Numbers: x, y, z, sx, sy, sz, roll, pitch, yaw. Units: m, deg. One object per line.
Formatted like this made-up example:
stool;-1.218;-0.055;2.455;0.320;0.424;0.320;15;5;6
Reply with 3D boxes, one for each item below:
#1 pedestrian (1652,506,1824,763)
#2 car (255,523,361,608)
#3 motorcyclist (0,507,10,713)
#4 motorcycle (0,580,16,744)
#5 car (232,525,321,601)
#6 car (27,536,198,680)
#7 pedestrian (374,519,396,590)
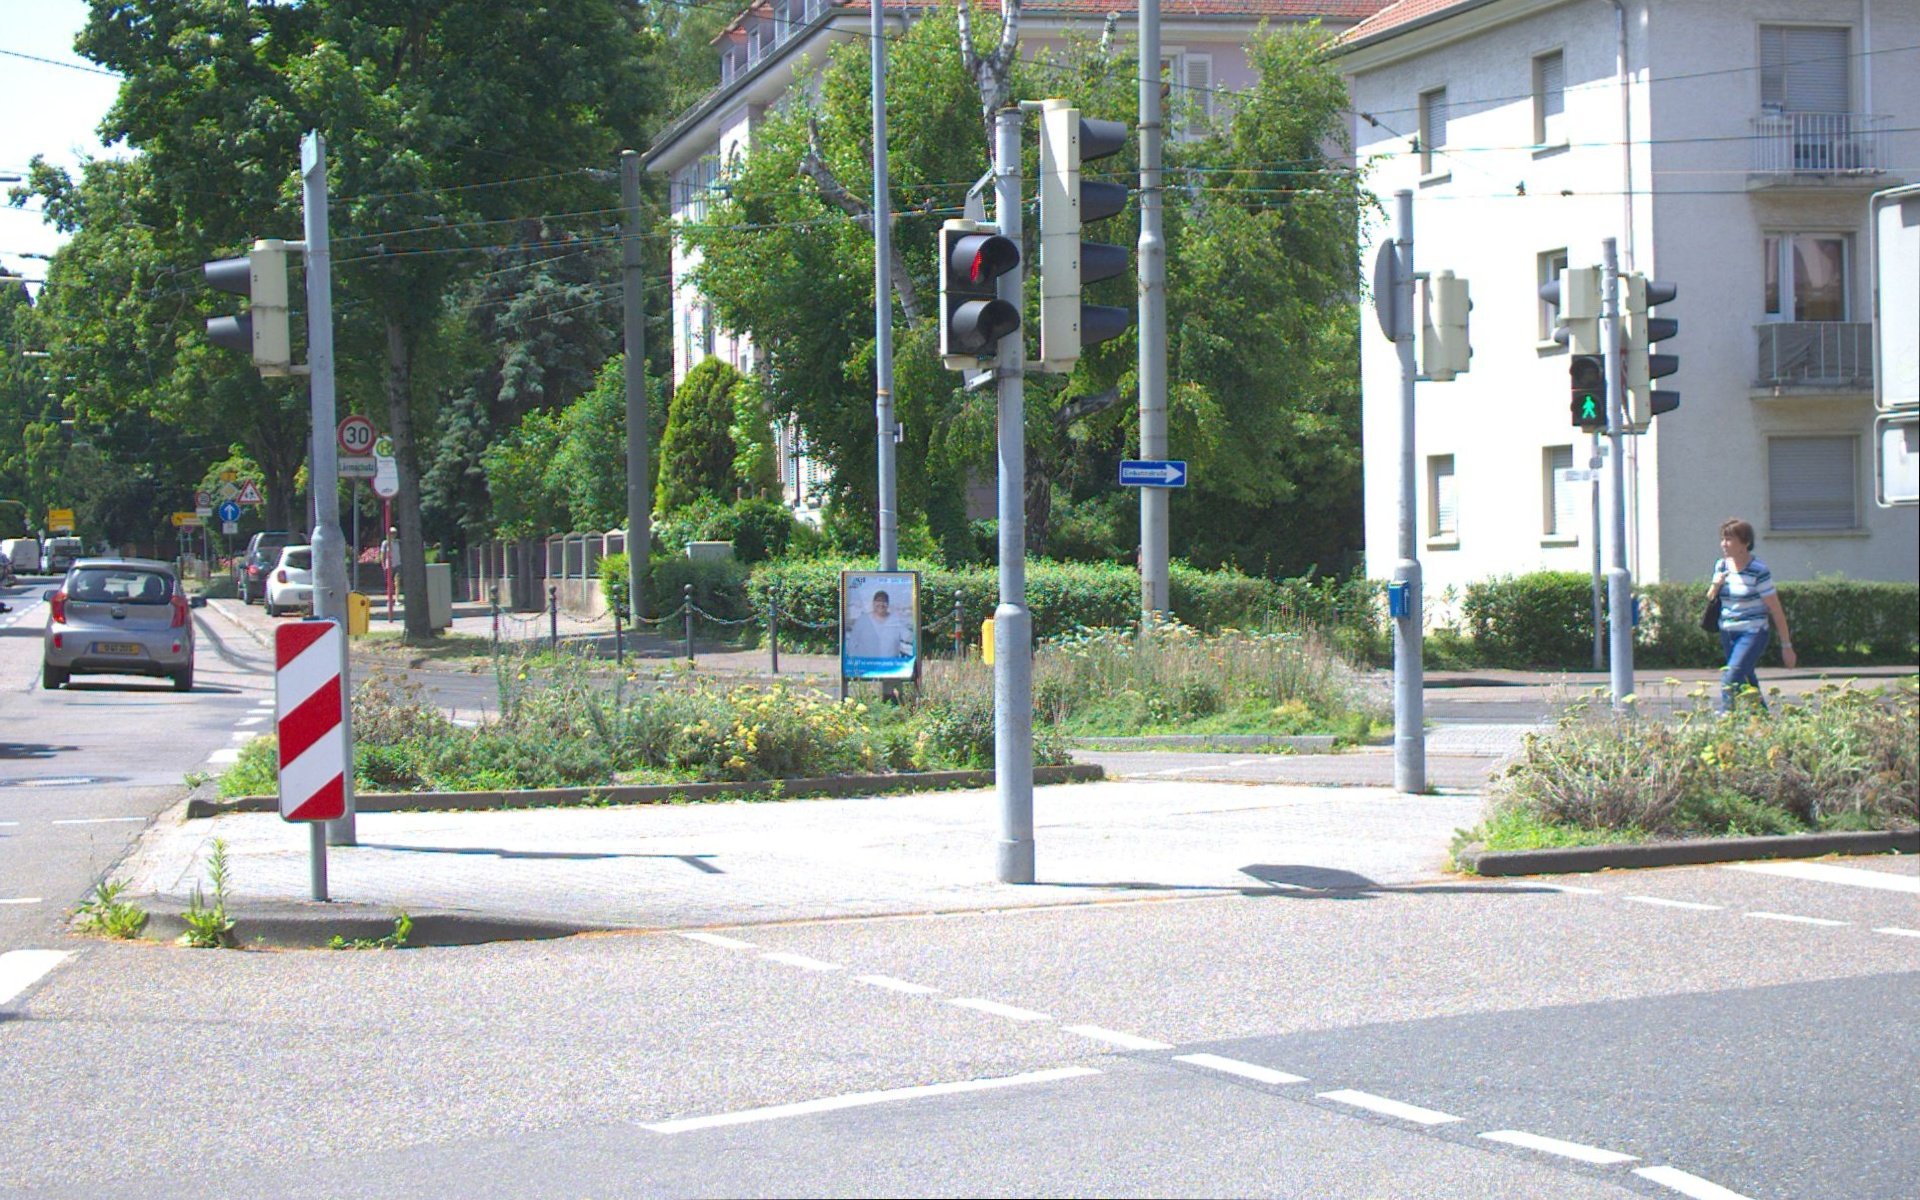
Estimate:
pedestrian;5.265;0.220;23.276;0.835;1.699;0.762;-1;1;-29
car;-14.256;-0.781;75.060;1.993;1.801;4.001;0;1;-15
motorcyclist;-7.151;0.065;24.395;0.710;1.440;1.019;0;1;-12
motorcycle;-7.177;0.438;24.506;0.710;1.130;2.198;0;1;-12
car;-17.543;-0.955;88.138;1.993;1.900;4.001;0;1;-15
car;-9.681;0.053;39.498;1.798;1.552;4.039;0;1;-12
pedestrian;-13.555;-1.075;81.084;0.508;1.650;0.466;0;1;-9
